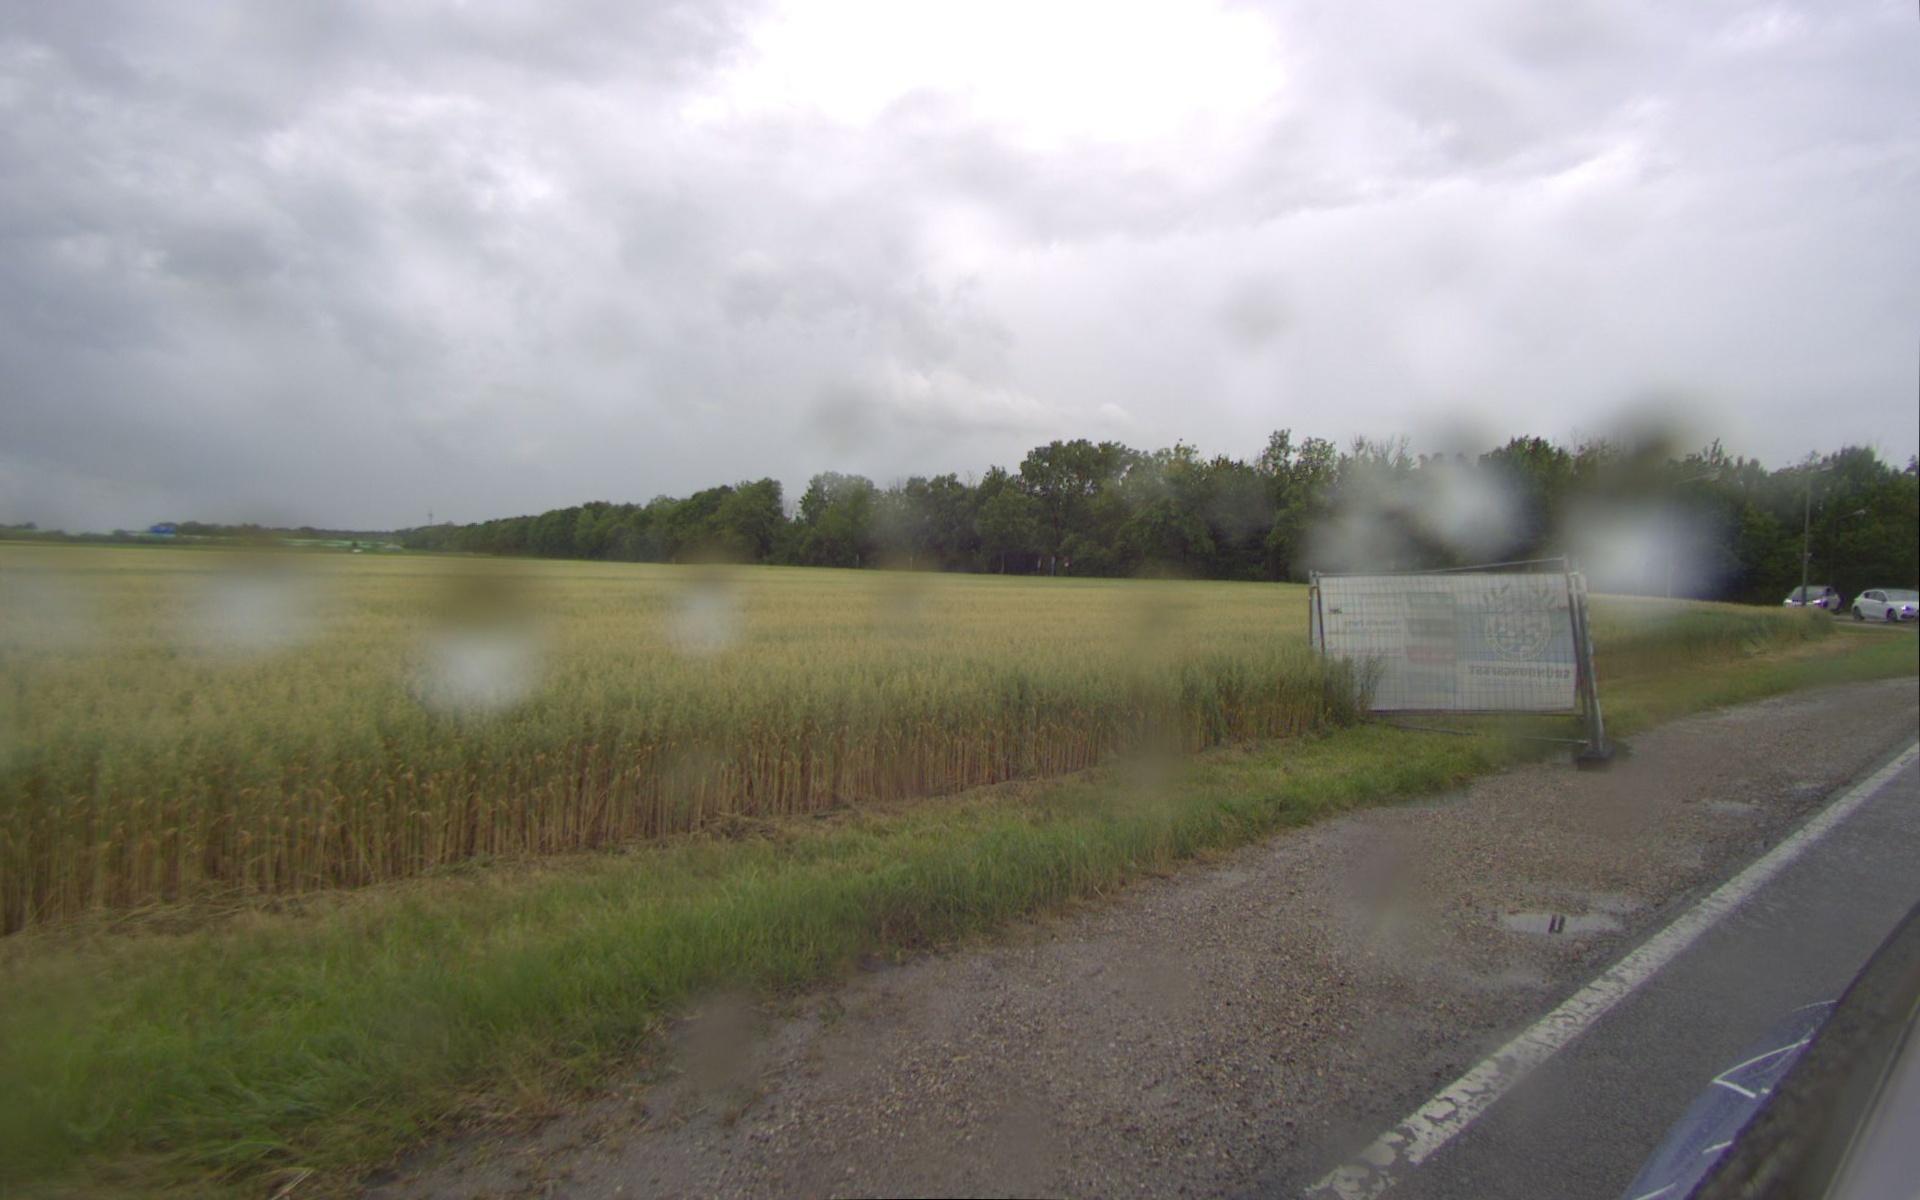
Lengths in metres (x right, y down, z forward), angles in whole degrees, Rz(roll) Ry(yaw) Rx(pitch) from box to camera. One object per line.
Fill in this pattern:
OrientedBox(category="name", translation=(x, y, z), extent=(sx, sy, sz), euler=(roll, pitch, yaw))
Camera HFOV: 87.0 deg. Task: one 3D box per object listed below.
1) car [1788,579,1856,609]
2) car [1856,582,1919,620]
OrientedBox(category="car", translation=(46.353, -0.314, 54.395), extent=(4.418, 1.550, 1.892), euler=(0, 1, -37))
OrientedBox(category="car", translation=(40.303, 0.018, 42.815), extent=(1.868, 1.550, 4.477), euler=(1, 1, 18))
